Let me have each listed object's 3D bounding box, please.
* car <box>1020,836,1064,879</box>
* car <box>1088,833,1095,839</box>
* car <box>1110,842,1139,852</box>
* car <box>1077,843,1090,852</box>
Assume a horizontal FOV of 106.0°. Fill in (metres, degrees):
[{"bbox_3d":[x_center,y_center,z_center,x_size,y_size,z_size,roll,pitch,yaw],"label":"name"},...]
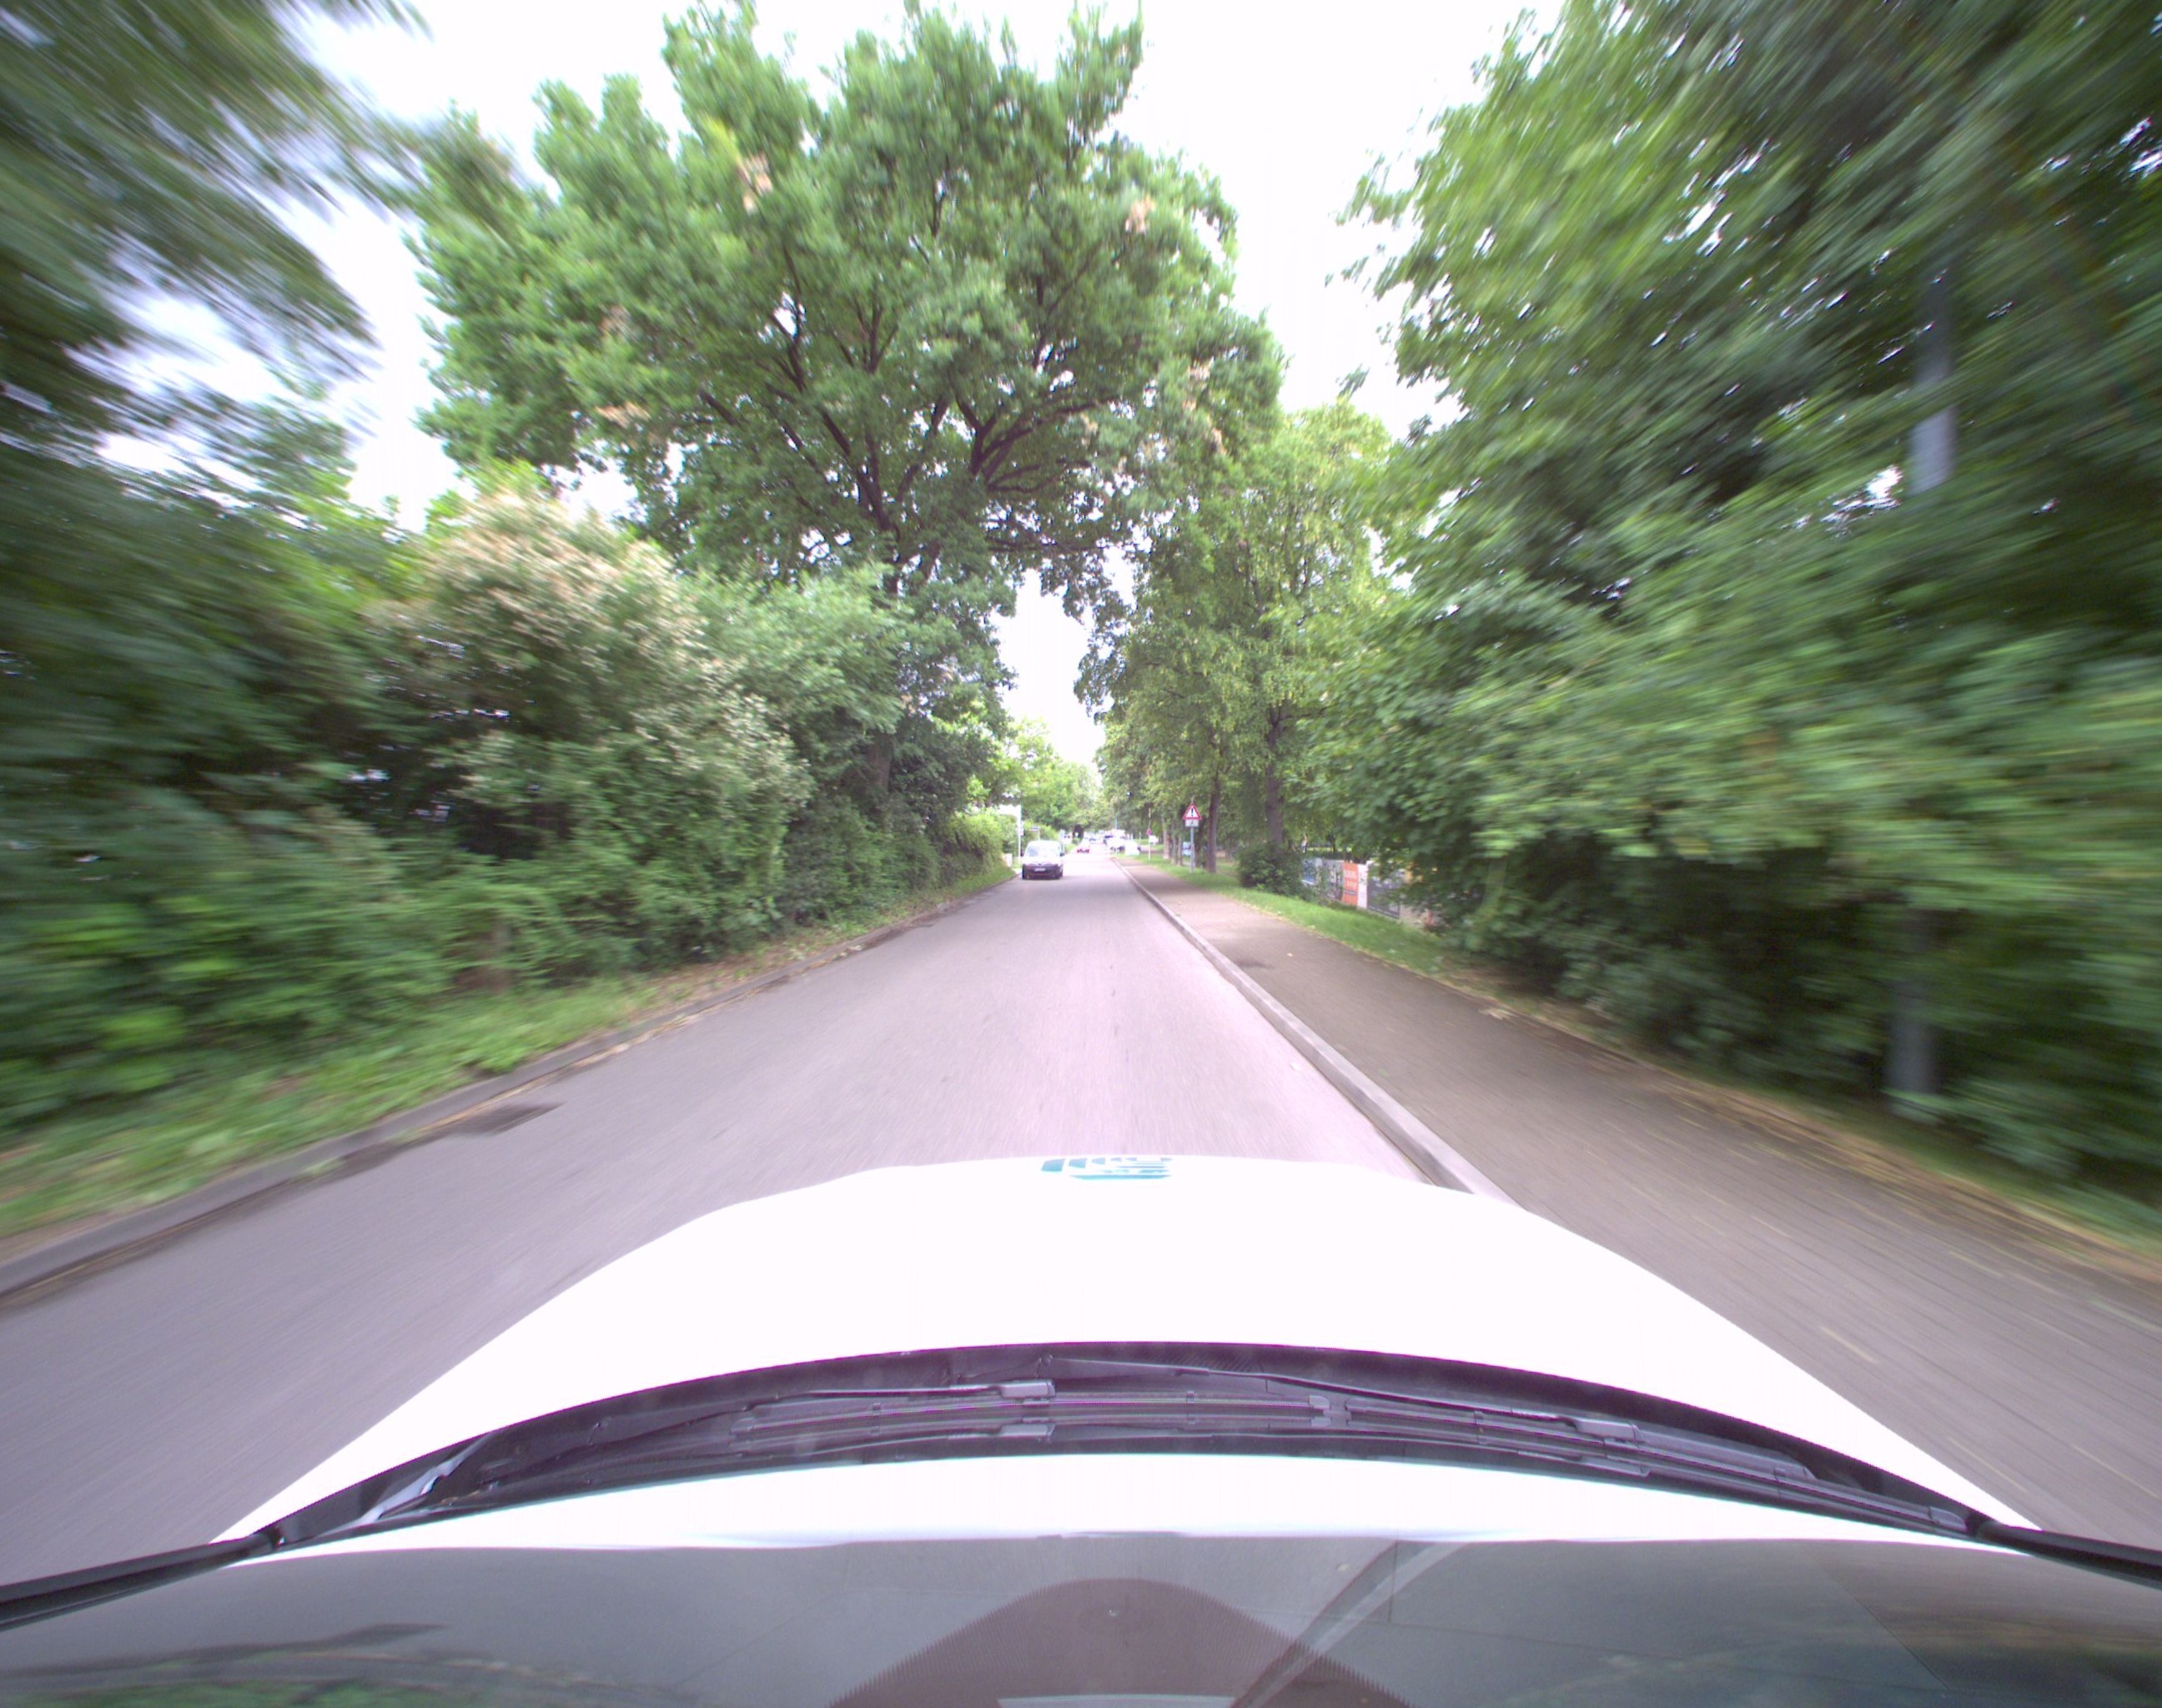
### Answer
[{"bbox_3d":[-1.817,0.147,39.262,1.867,1.913,4.431,-1,0,0],"label":"car"},{"bbox_3d":[3.213,-5.420,247.181,1.962,1.747,4.338,1,1,0],"label":"car"},{"bbox_3d":[6.322,-1.020,119.048,4.050,1.434,2.000,-1,-1,0],"label":"car"},{"bbox_3d":[0.319,-0.958,116.772,1.746,1.335,4.062,1,1,-2],"label":"car"}]
